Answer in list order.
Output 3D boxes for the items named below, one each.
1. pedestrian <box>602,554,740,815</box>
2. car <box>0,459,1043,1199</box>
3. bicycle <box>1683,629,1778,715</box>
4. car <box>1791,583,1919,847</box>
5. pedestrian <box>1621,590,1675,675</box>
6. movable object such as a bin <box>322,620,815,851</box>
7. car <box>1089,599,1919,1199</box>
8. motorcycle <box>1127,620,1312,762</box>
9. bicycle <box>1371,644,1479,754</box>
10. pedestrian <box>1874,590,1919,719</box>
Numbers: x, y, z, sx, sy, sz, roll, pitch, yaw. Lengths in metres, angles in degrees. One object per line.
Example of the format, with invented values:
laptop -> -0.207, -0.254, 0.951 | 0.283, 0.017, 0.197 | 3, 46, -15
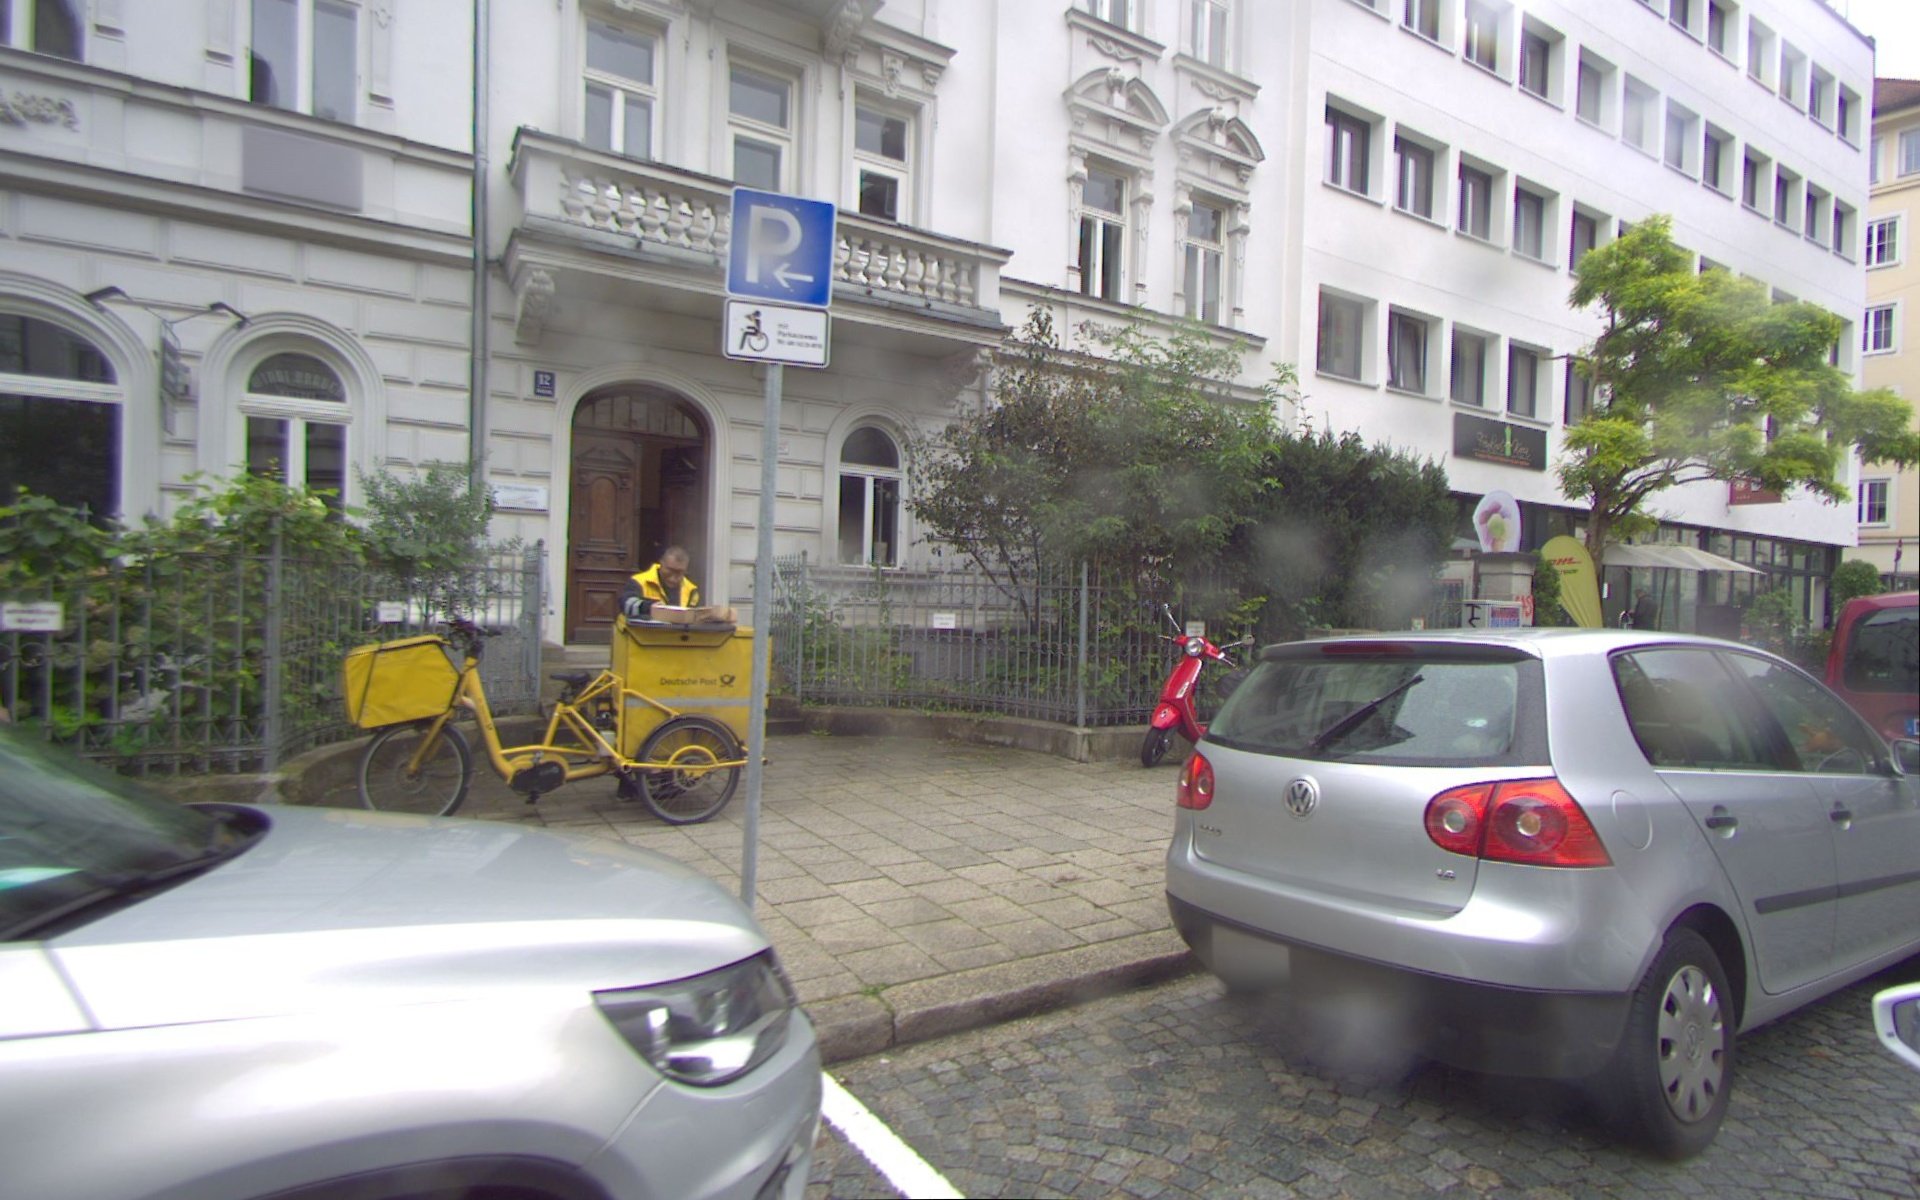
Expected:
pedestrian -> -1.978, 0.550, 6.851 | 0.810, 1.669, 0.574 | 1, 0, -24
car -> -2.014, 0.615, 1.331 | 4.025, 1.593, 1.679 | 2, 0, -33
bicycle -> 11.294, 1.045, 14.707 | 1.888, 1.190, 0.359 | 2, 1, -29
car -> 8.062, 0.815, 7.508 | 3.855, 1.746, 1.709 | 2, -1, -32
pedestrian -> 14.087, 0.646, 20.560 | 0.774, 1.683, 0.553 | 0, 3, -29
movable object such as a bin -> -2.247, 0.753, 6.069 | 2.617, 1.181, 0.640 | 2, 1, -25
car -> 2.502, 0.777, 4.009 | 3.775, 1.412, 1.622 | 2, 0, -33
motorcycle -> 2.302, 0.805, 8.900 | 1.598, 1.195, 0.330 | 2, 1, -16
bicycle -> 5.112, 1.051, 11.004 | 1.669, 1.093, 0.255 | 0, 2, -36
pedestrian -> 14.201, 0.803, 15.018 | 0.806, 1.865, 0.609 | 2, 0, -38
